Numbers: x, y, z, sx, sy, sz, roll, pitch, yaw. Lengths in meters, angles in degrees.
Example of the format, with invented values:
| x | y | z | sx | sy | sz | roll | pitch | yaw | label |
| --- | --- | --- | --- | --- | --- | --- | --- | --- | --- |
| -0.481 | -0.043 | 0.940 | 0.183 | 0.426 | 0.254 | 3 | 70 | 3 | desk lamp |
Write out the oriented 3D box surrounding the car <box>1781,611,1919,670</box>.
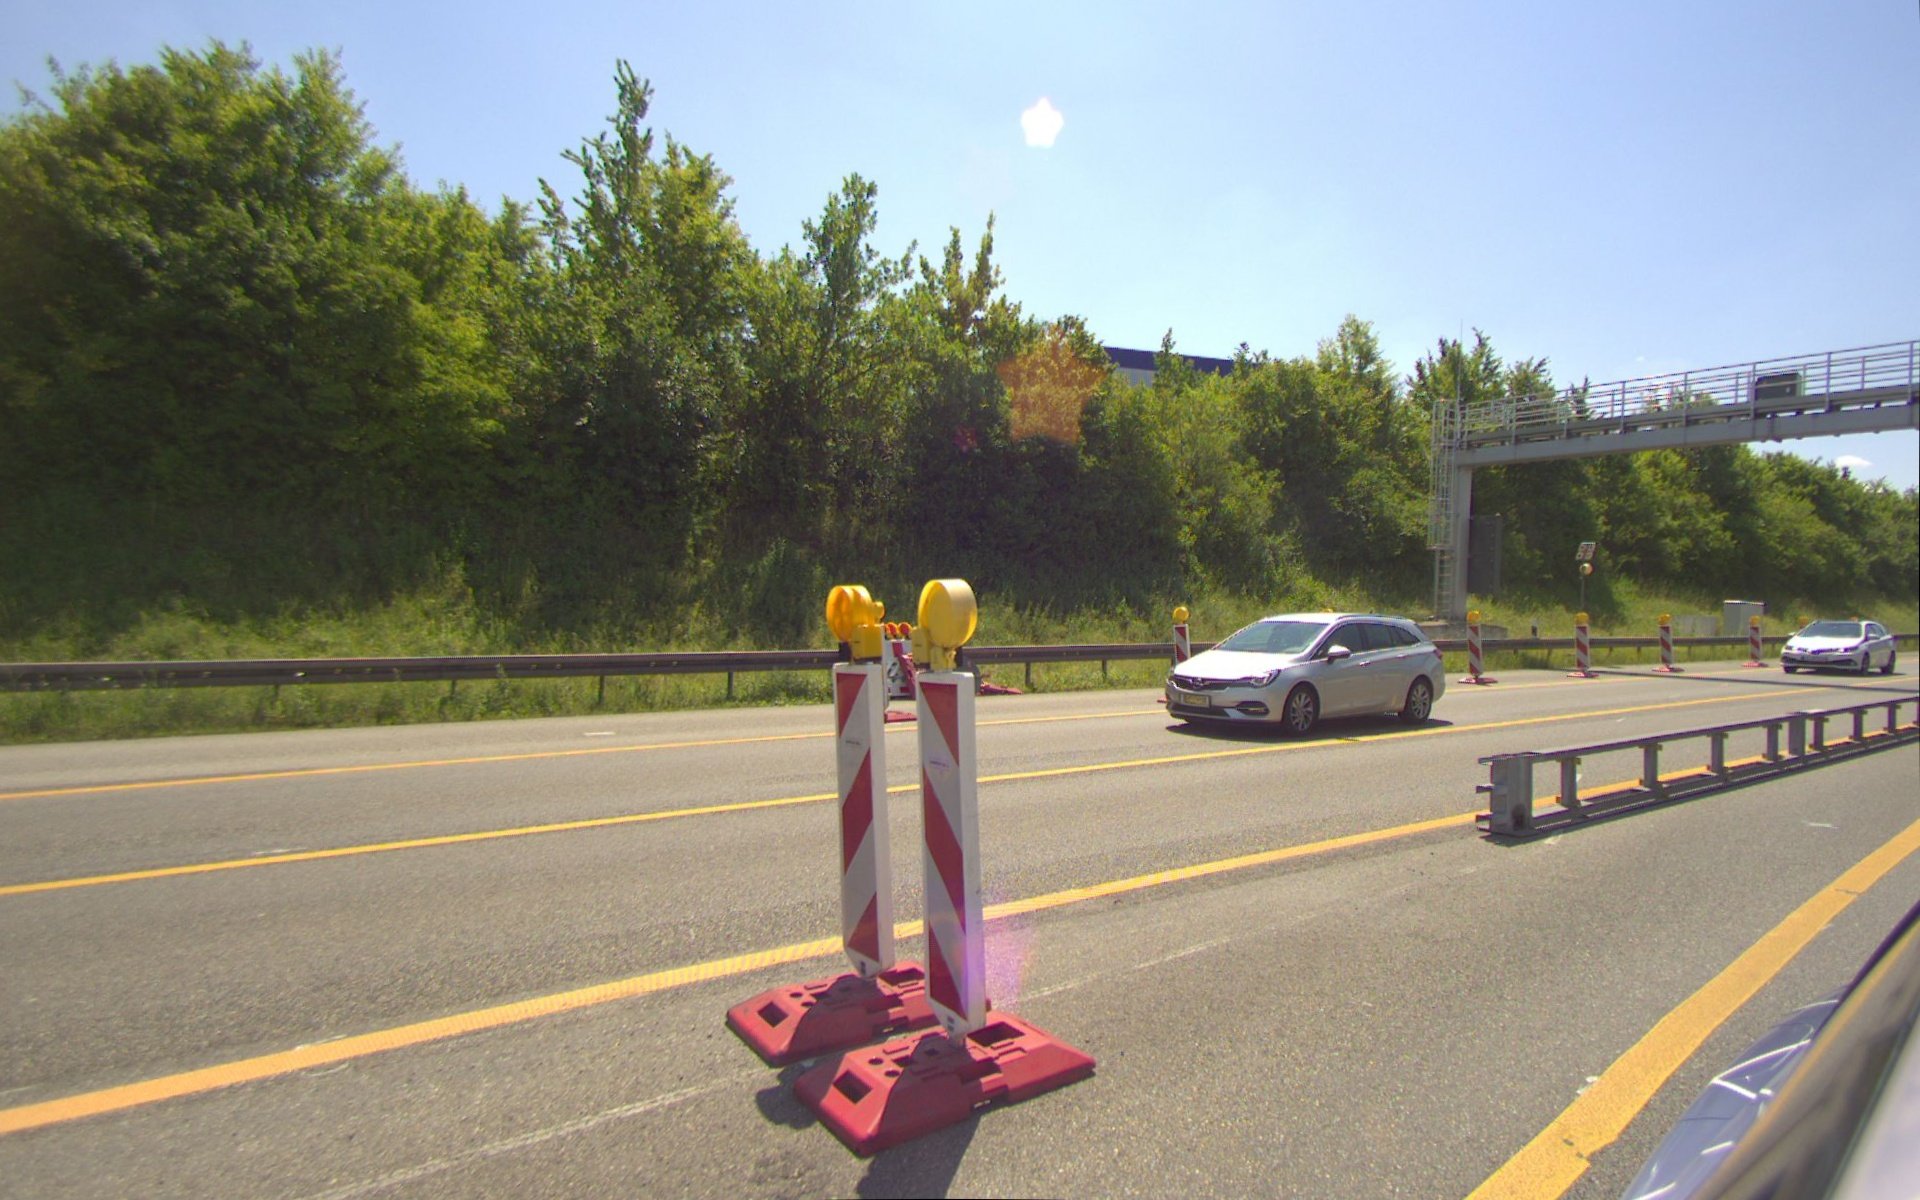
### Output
| x | y | z | sx | sy | sz | roll | pitch | yaw | label |
| --- | --- | --- | --- | --- | --- | --- | --- | --- | --- |
| 24.640 | 1.071 | 27.927 | 4.562 | 1.483 | 1.821 | 1 | 0 | -34 | car |

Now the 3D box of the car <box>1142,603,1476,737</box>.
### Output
| x | y | z | sx | sy | sz | roll | pitch | yaw | label |
| --- | --- | --- | --- | --- | --- | --- | --- | --- | --- |
| 4.734 | 0.822 | 13.478 | 4.562 | 1.483 | 1.821 | 1 | 0 | -34 | car |
